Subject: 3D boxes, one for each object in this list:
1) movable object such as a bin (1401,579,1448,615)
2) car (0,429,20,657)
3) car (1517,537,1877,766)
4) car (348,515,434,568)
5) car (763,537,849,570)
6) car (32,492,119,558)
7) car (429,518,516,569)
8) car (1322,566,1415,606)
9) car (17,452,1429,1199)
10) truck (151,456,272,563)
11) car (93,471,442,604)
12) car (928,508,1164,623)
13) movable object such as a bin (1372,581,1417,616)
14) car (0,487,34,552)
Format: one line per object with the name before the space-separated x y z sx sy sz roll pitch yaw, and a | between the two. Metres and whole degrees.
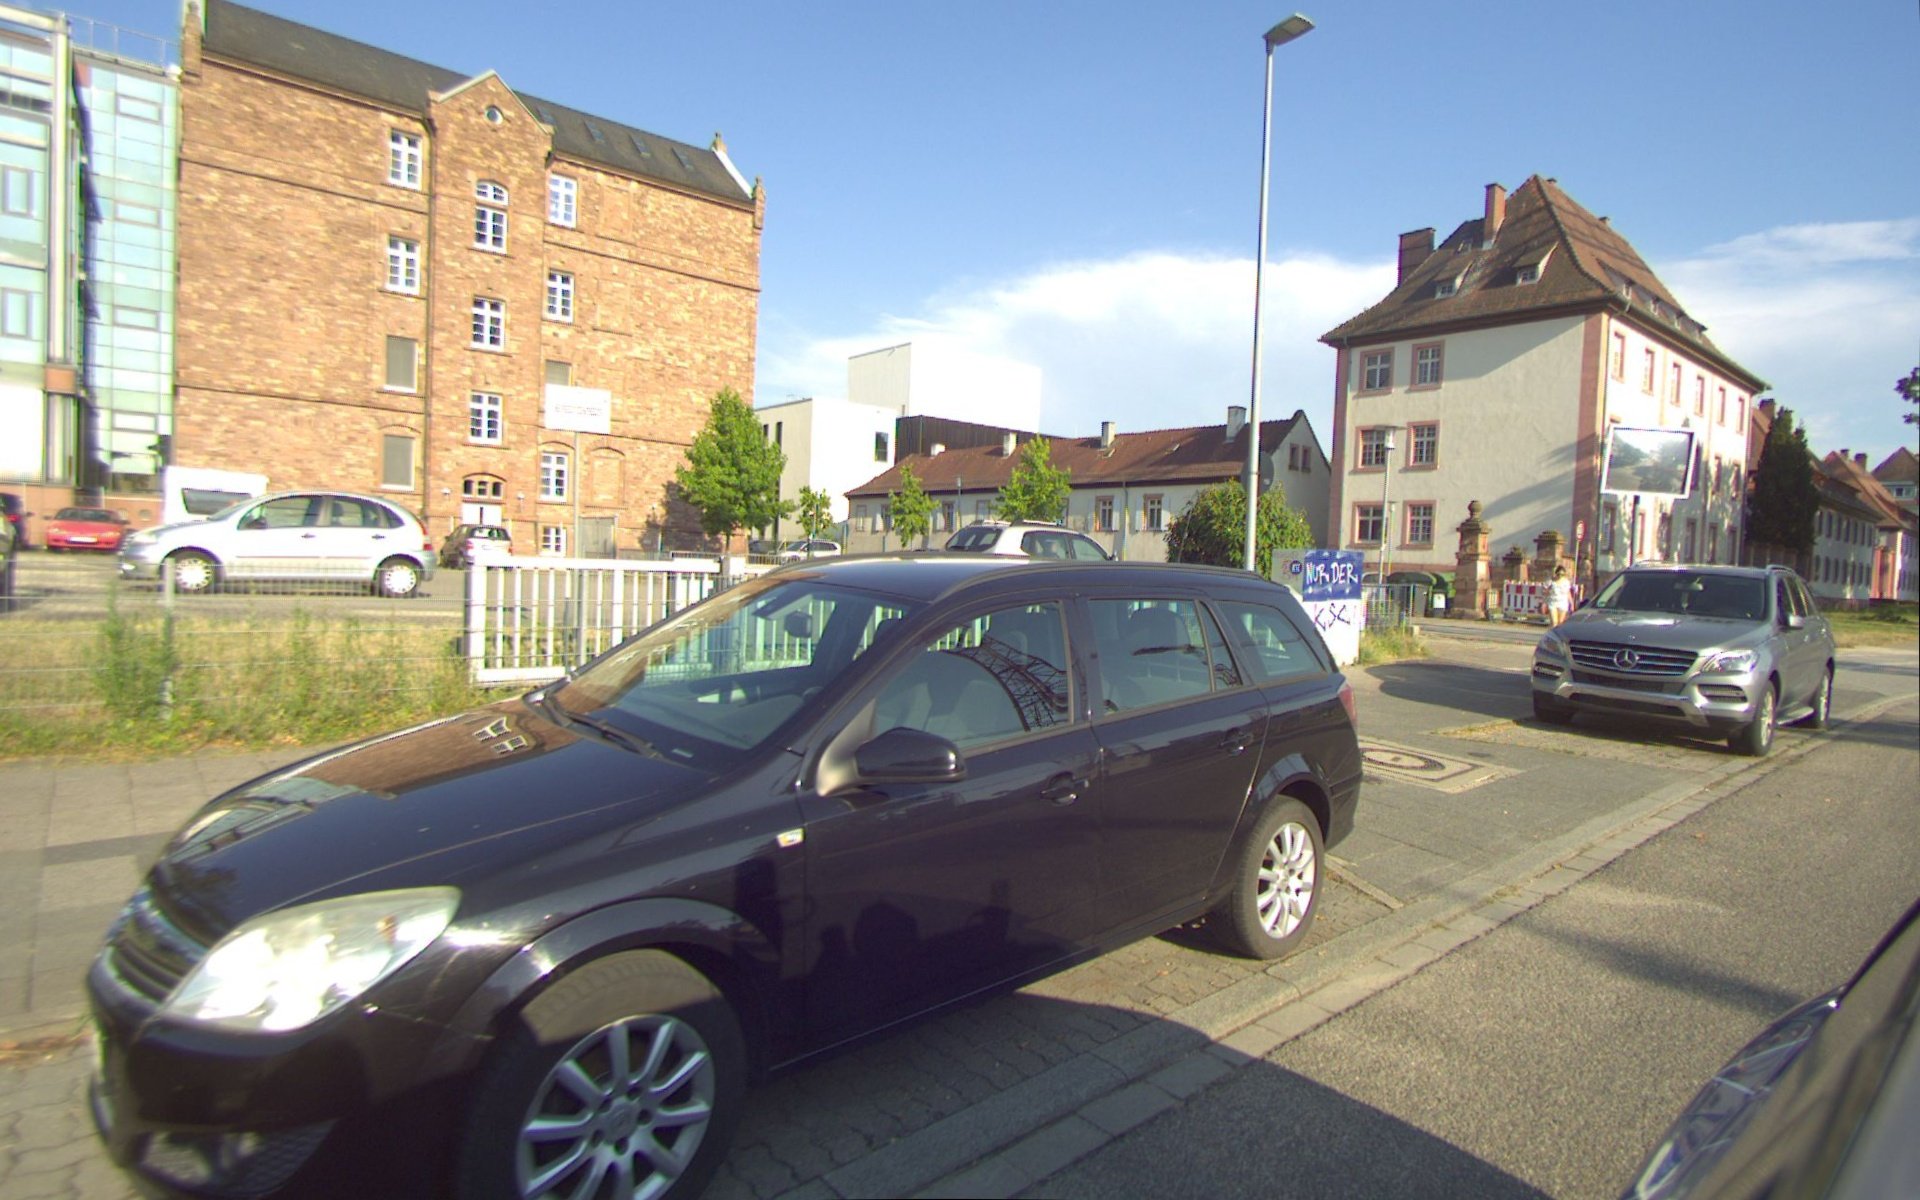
movable object such as a bin | 14.601 -0.116 31.828 0.920 1.105 0.988 0 1 -29
car | -9.652 -0.477 8.889 1.966 1.816 3.992 -1 2 -42
car | 7.921 0.354 10.698 4.727 1.799 1.927 -1 7 -41
car | -18.851 -1.875 33.438 1.702 1.621 4.486 -1 2 -40
car | -7.942 -2.360 52.307 3.927 1.638 1.999 -1 1 -38
car | -24.579 -2.027 28.238 1.702 1.621 4.486 -1 2 -40
car | -16.993 -1.915 35.204 1.702 1.621 4.486 -1 2 -40
car | 15.980 -0.563 39.499 3.931 1.471 1.794 -1 2 -41
car | -0.253 0.474 3.541 4.362 1.559 1.746 -1 5 -41
truck | -22.161 -2.484 29.818 2.497 2.717 6.437 -1 2 -40
car | -9.866 -0.818 14.559 3.932 1.646 1.996 -1 2 -42
car | 1.495 -0.546 16.738 3.931 1.682 1.655 -1 2 -42
movable object such as a bin | 14.062 -0.049 32.787 0.920 1.105 0.988 0 1 -29
car | -26.588 -2.163 27.637 1.702 1.621 4.486 -1 2 -40
